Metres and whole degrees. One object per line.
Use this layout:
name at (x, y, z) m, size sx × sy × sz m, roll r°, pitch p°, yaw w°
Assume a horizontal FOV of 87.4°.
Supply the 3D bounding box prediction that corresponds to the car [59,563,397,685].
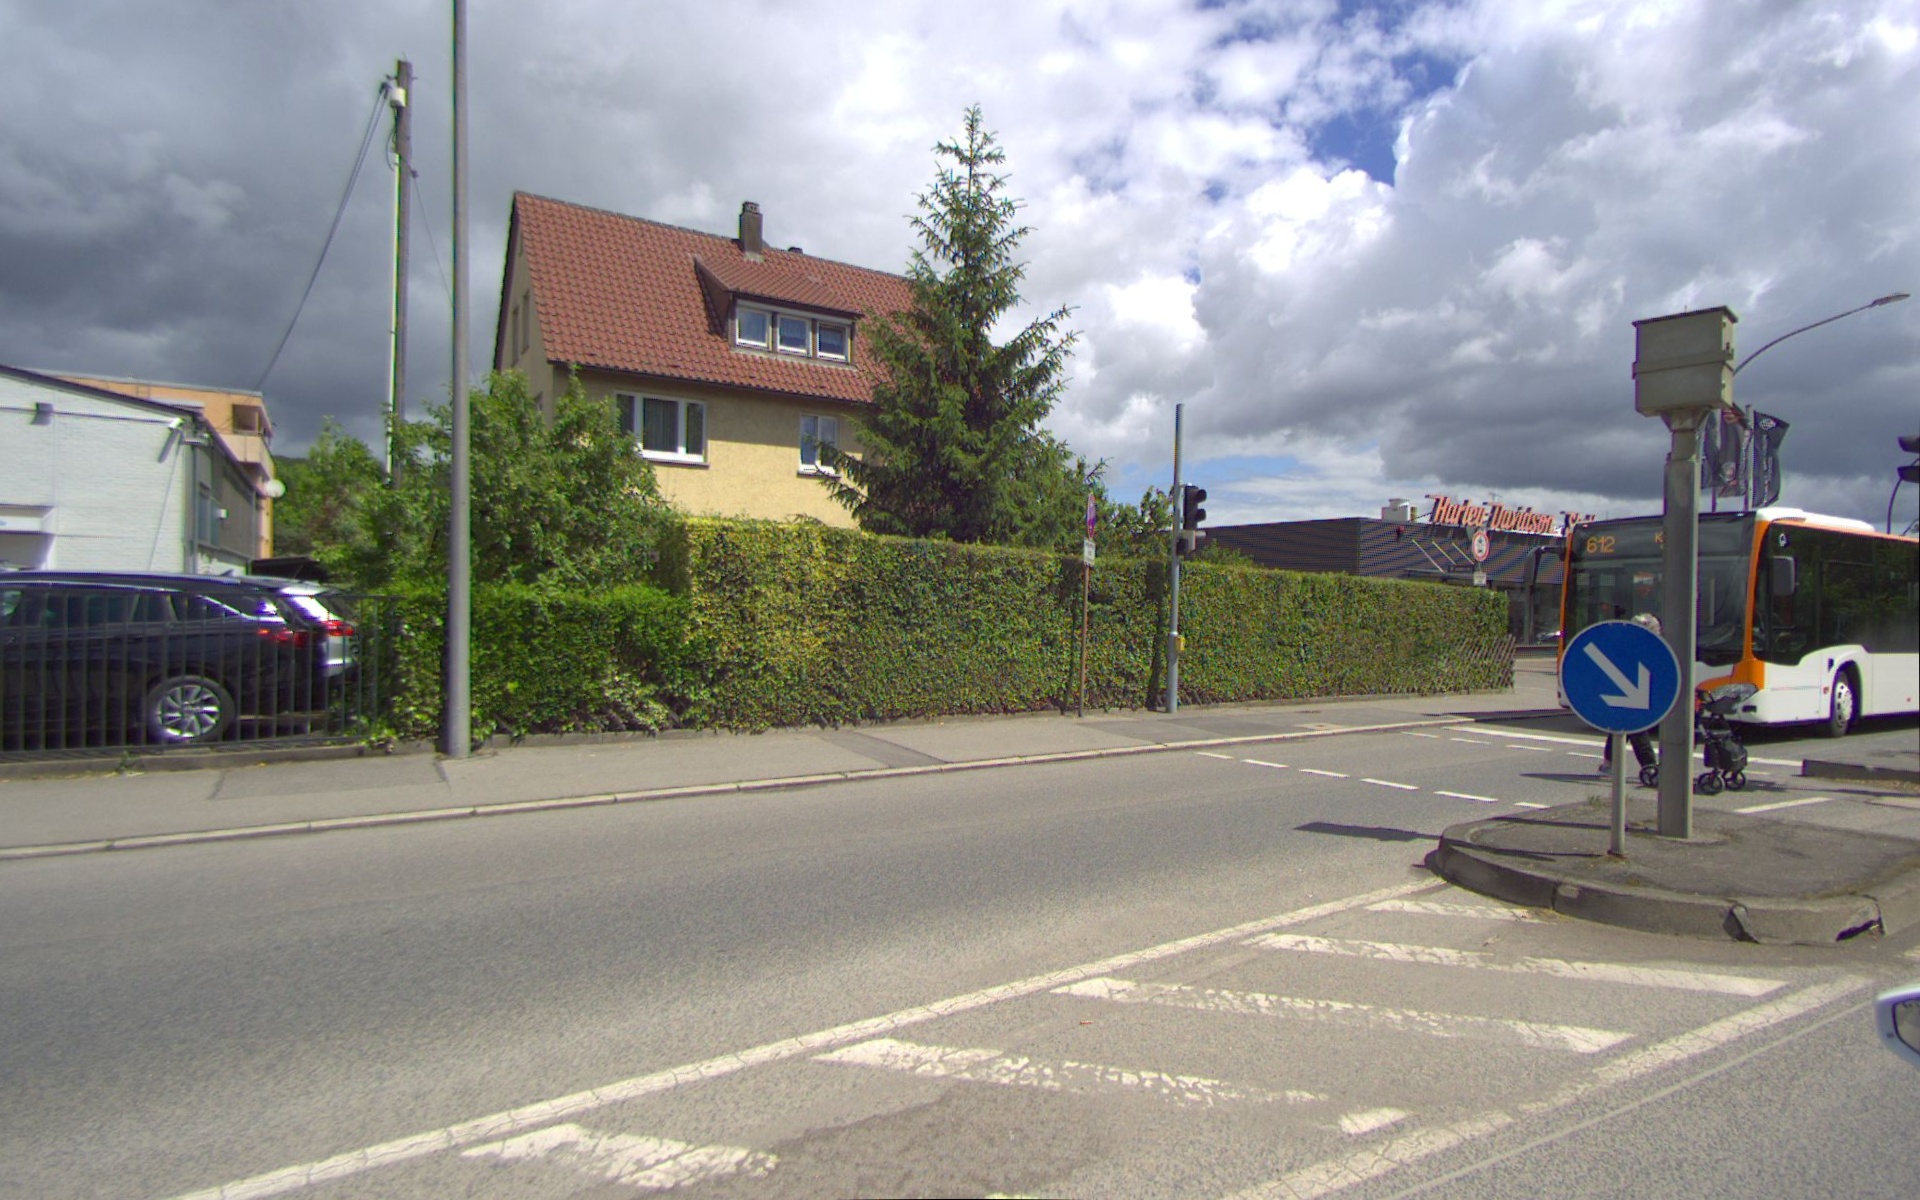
car at (-10.972, 0.363, 15.391) m, size 3.959 × 1.639 × 1.765 m, roll 1°, pitch -1°, yaw -34°

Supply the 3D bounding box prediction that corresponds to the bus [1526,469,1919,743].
bus at (14.045, 0.242, 16.413) m, size 11.982 × 3.309 × 2.764 m, roll 2°, pitch -1°, yaw -31°

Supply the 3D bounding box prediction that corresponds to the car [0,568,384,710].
car at (-10.002, 0.492, 13.349) m, size 3.959 × 1.639 × 1.765 m, roll 1°, pitch -1°, yaw -34°

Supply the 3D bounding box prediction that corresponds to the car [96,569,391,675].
car at (-12.276, 0.379, 17.439) m, size 3.963 × 1.639 × 1.763 m, roll 1°, pitch -1°, yaw -37°

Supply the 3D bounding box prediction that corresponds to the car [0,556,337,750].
car at (-8.047, 0.419, 8.882) m, size 4.224 × 1.527 × 2.140 m, roll 1°, pitch -1°, yaw -35°

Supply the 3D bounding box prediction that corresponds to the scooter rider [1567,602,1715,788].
scooter rider at (6.288, 0.830, 9.289) m, size 0.787 × 1.611 × 0.873 m, roll 1°, pitch 0°, yaw -31°

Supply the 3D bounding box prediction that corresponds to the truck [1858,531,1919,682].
truck at (30.092, 0.293, 30.516) m, size 9.068 × 4.186 × 2.410 m, roll 2°, pitch 2°, yaw -38°

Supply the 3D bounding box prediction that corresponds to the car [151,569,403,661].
car at (-13.420, 0.309, 19.915) m, size 3.963 × 1.639 × 1.763 m, roll 1°, pitch -1°, yaw -37°

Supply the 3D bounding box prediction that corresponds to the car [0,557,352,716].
car at (-9.173, 0.363, 10.970) m, size 4.224 × 1.527 × 2.140 m, roll 1°, pitch 0°, yaw -35°

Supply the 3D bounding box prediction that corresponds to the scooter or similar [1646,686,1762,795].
scooter or similar at (6.536, 1.211, 8.828) m, size 0.652 × 0.843 × 0.608 m, roll 1°, pitch 0°, yaw -31°

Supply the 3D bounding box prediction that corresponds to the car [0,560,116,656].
car at (-17.392, 0.121, 17.512) m, size 3.963 × 1.639 × 1.763 m, roll 1°, pitch -1°, yaw -37°
